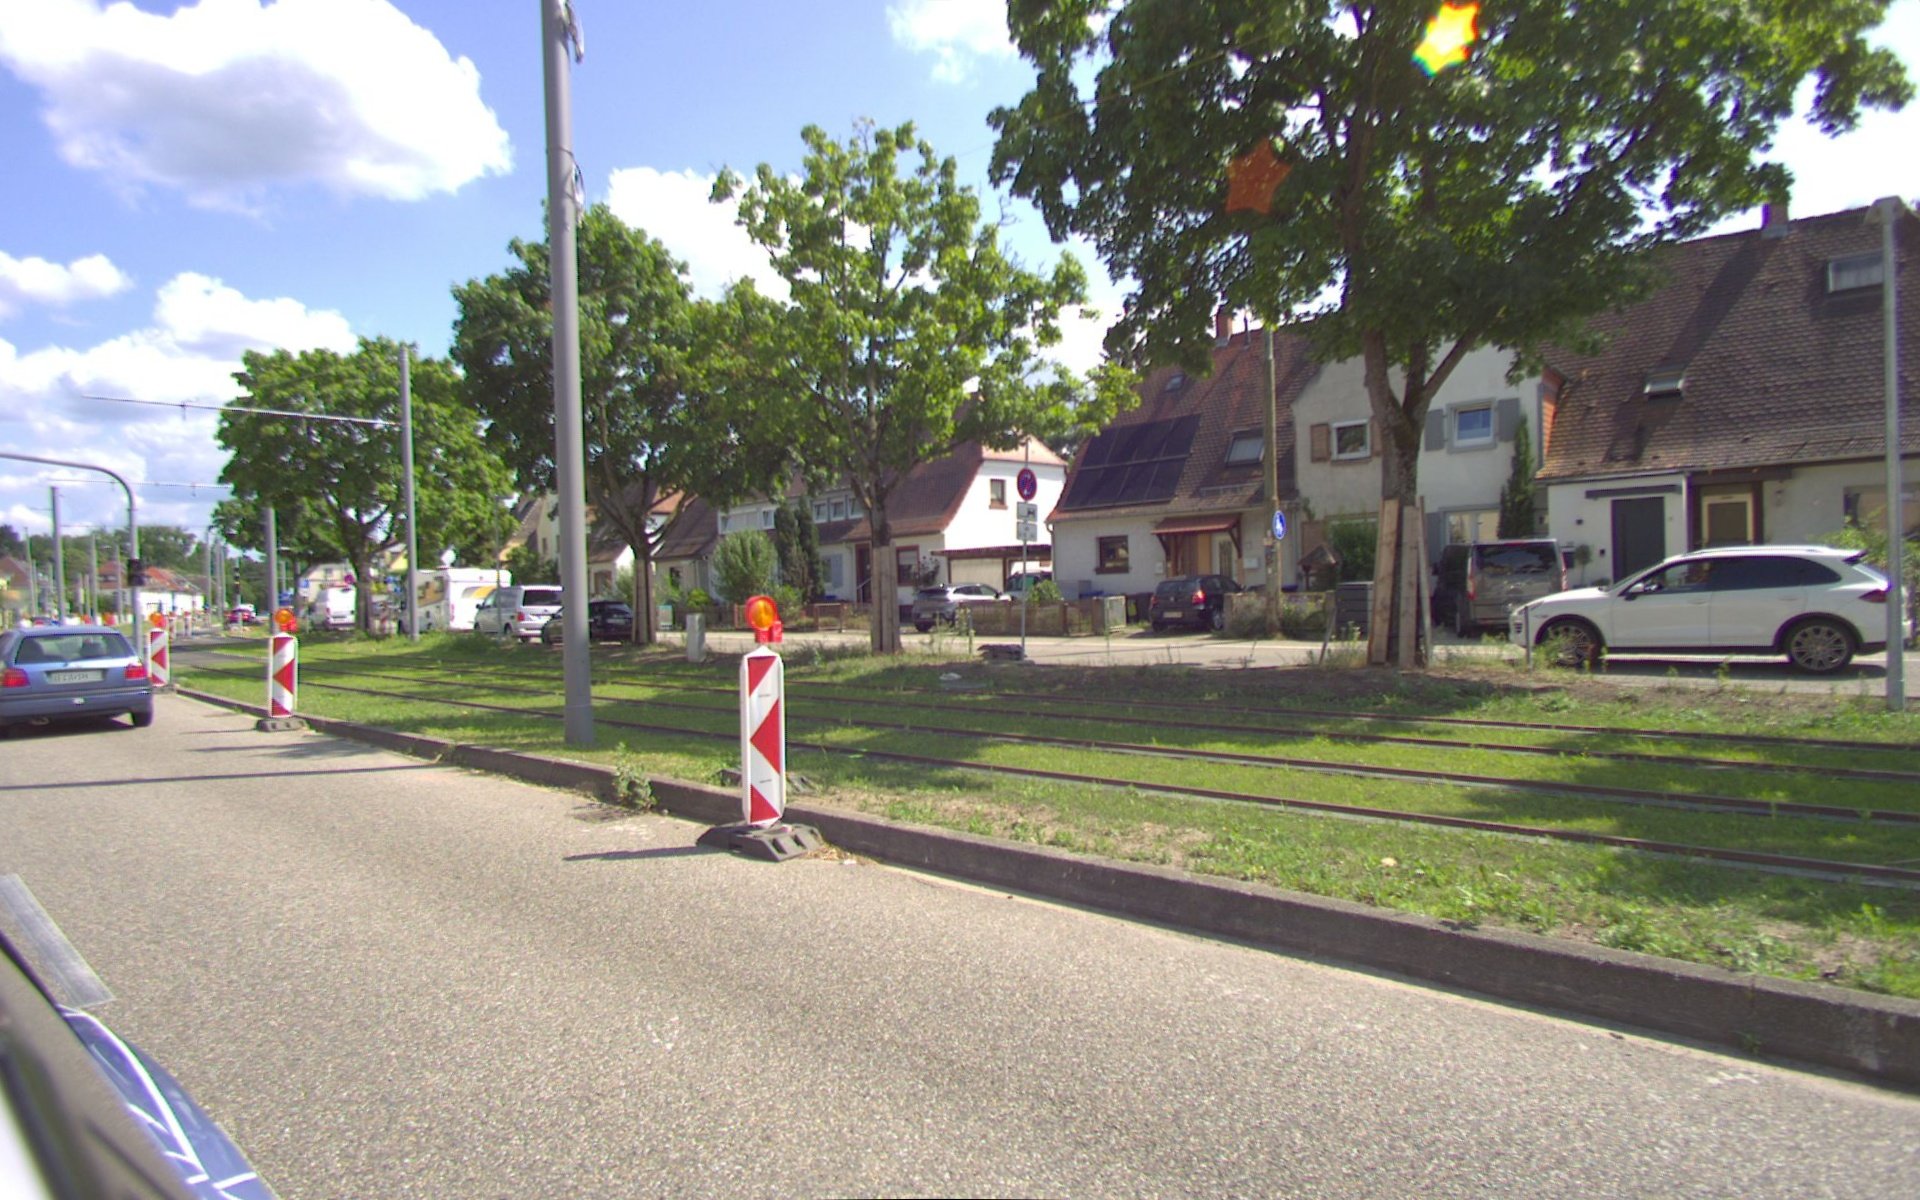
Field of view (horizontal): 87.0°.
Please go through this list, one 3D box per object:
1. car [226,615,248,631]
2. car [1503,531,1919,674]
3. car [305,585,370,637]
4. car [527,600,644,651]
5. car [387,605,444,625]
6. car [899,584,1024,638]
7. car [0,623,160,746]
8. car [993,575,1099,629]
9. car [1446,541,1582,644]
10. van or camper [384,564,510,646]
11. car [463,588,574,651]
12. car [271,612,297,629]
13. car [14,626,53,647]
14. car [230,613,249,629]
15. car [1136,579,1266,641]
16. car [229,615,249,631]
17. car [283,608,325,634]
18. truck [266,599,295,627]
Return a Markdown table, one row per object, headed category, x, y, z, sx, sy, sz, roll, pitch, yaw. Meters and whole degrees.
| category | x | y | z | sx | sy | sz | roll | pitch | yaw |
| --- | --- | --- | --- | --- | --- | --- | --- | --- | --- |
| car | -73.925 | 2.353 | 103.475 | 1.702 | 1.574 | 4.553 | -2 | 0 | -35 |
| car | 10.908 | 0.052 | 14.640 | 5.079 | 1.781 | 1.862 | -1 | 0 | 40 |
| car | -33.911 | 0.587 | 55.078 | 2.127 | 2.688 | 4.922 | -2 | 0 | -42 |
| car | -11.670 | 0.764 | 31.309 | 1.829 | 1.397 | 4.816 | -2 | 0 | -40 |
| car | -46.732 | 1.317 | 86.892 | 3.904 | 1.556 | 1.762 | -2 | 0 | -44 |
| car | 0.096 | 0.324 | 32.478 | 1.872 | 1.541 | 3.947 | -2 | 1 | 40 |
| car | -12.496 | 1.063 | 13.839 | 3.955 | 1.460 | 1.648 | -2 | -2 | 40 |
| car | 3.122 | 0.046 | 36.149 | 1.797 | 1.750 | 3.947 | -2 | 1 | 40 |
| car | 11.537 | -0.216 | 21.330 | 1.929 | 1.911 | 3.870 | -2 | 2 | 21 |
| van or camper | -20.599 | 0.220 | 40.406 | 2.348 | 2.992 | 7.301 | -2 | 0 | -45 |
| car | -15.639 | 0.669 | 35.716 | 1.971 | 2.029 | 4.907 | -2 | 0 | -44 |
| car | -64.199 | 1.919 | 96.160 | 1.701 | 1.538 | 4.785 | -2 | 0 | -30 |
| car | -77.699 | 3.044 | 84.904 | 1.850 | 1.564 | 4.996 | -2 | 0 | -37 |
| car | -86.256 | 2.494 | 121.144 | 1.702 | 1.868 | 4.552 | -2 | 0 | -36 |
| car | 6.342 | 0.227 | 26.351 | 1.734 | 1.468 | 3.845 | -2 | 0 | 40 |
| car | -77.805 | 2.463 | 109.261 | 1.702 | 1.574 | 4.656 | -2 | 0 | -35 |
| car | -41.228 | 1.312 | 63.579 | 1.671 | 1.476 | 4.763 | -2 | 0 | -40 |
| truck | -83.930 | 1.600 | 125.093 | 2.797 | 3.178 | 7.956 | -2 | 0 | -33 |
